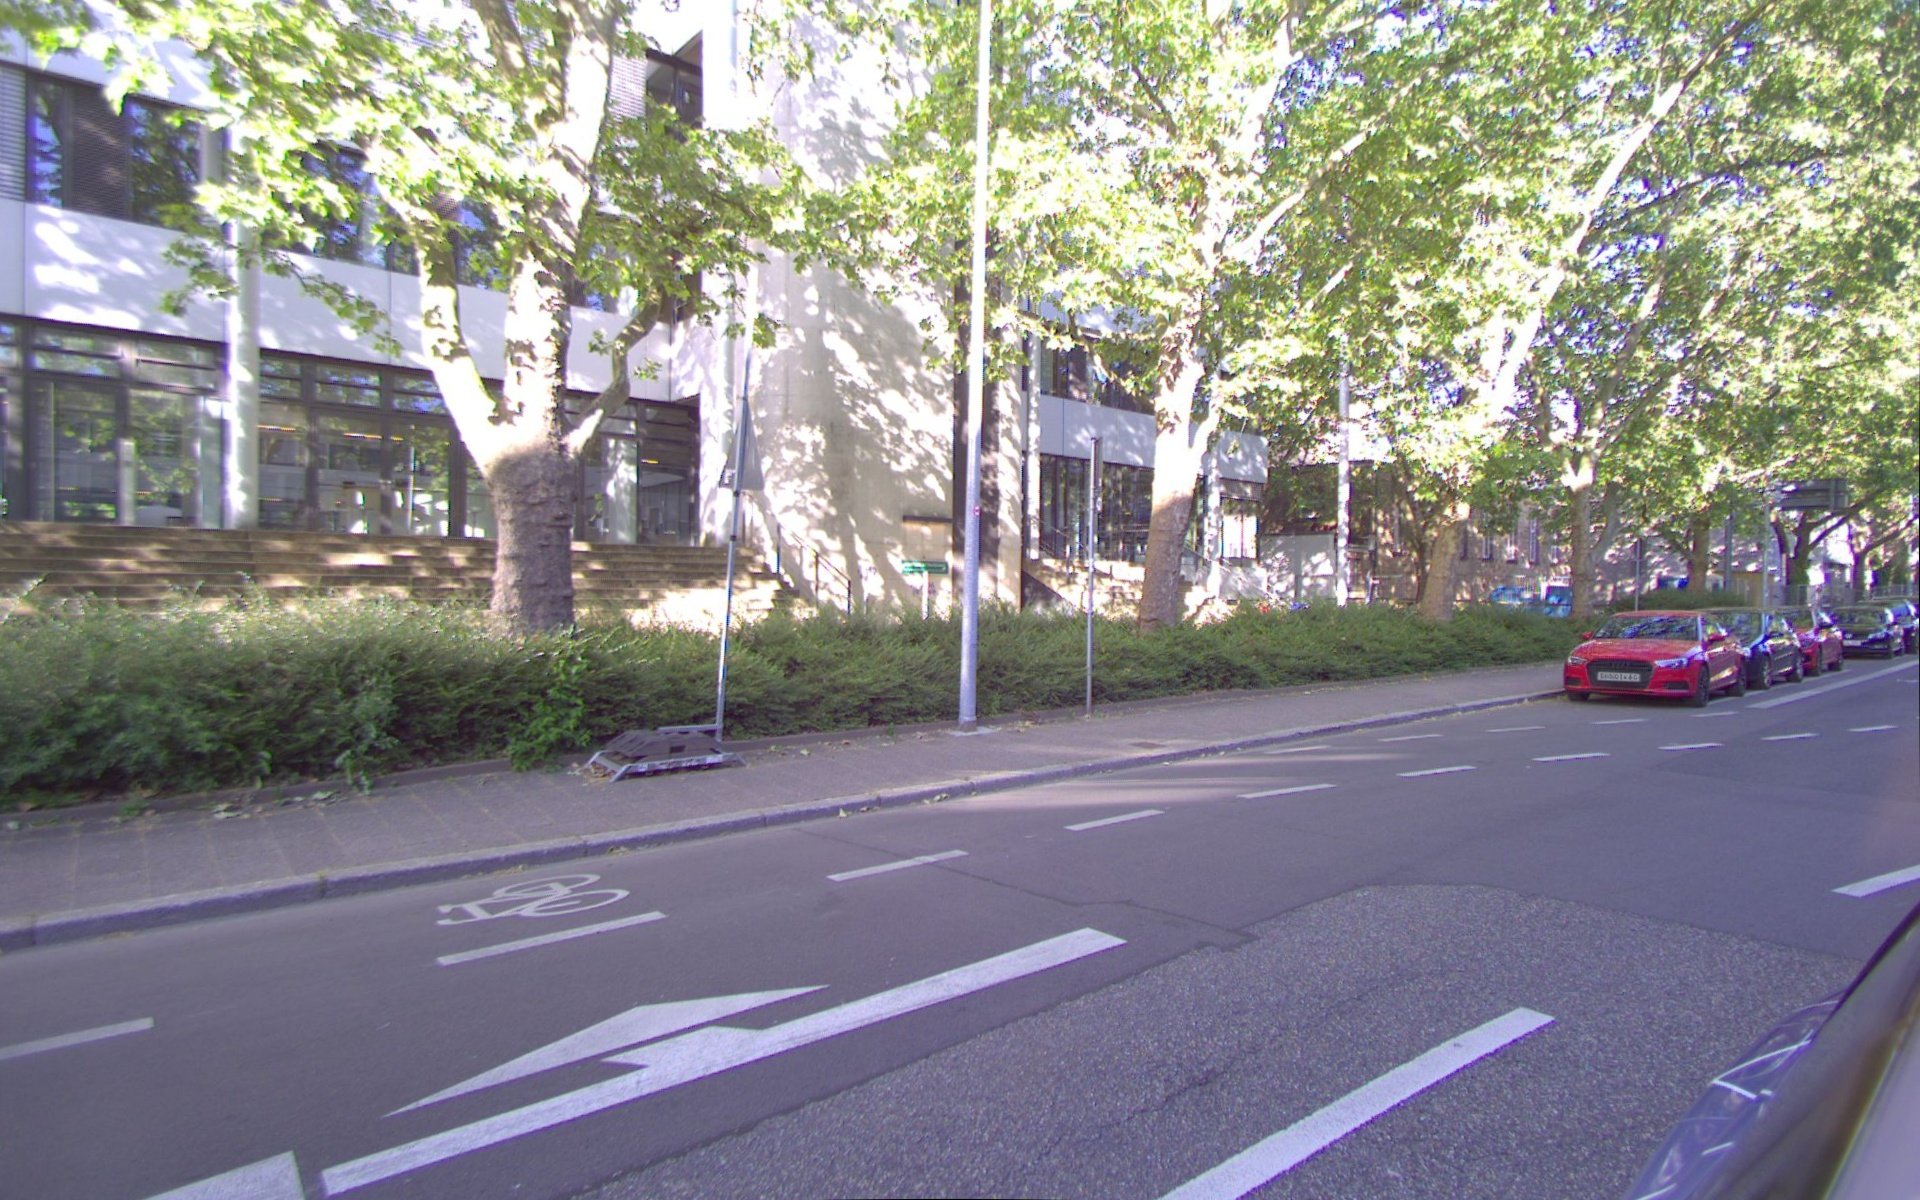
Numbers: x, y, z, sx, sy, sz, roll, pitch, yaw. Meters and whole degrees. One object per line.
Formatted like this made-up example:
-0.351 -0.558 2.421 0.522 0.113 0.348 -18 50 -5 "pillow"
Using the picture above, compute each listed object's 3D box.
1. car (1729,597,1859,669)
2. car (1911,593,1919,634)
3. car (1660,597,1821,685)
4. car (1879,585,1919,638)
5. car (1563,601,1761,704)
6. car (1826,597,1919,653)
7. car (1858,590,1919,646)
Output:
18.618 0.672 22.543 3.715 1.452 1.665 0 1 -41 "car"
38.715 0.509 39.727 3.801 1.581 1.684 0 1 -41 "car"
14.816 0.701 19.149 3.930 1.485 1.684 0 0 -41 "car"
33.977 0.388 35.711 4.354 1.790 1.818 0 1 -41 "car"
11.251 0.752 16.122 3.962 1.439 1.722 0 -2 -42 "car"
26.021 0.652 28.702 3.930 1.469 1.684 0 1 -41 "car"
29.522 0.521 31.656 3.770 1.640 1.684 0 1 -41 "car"
